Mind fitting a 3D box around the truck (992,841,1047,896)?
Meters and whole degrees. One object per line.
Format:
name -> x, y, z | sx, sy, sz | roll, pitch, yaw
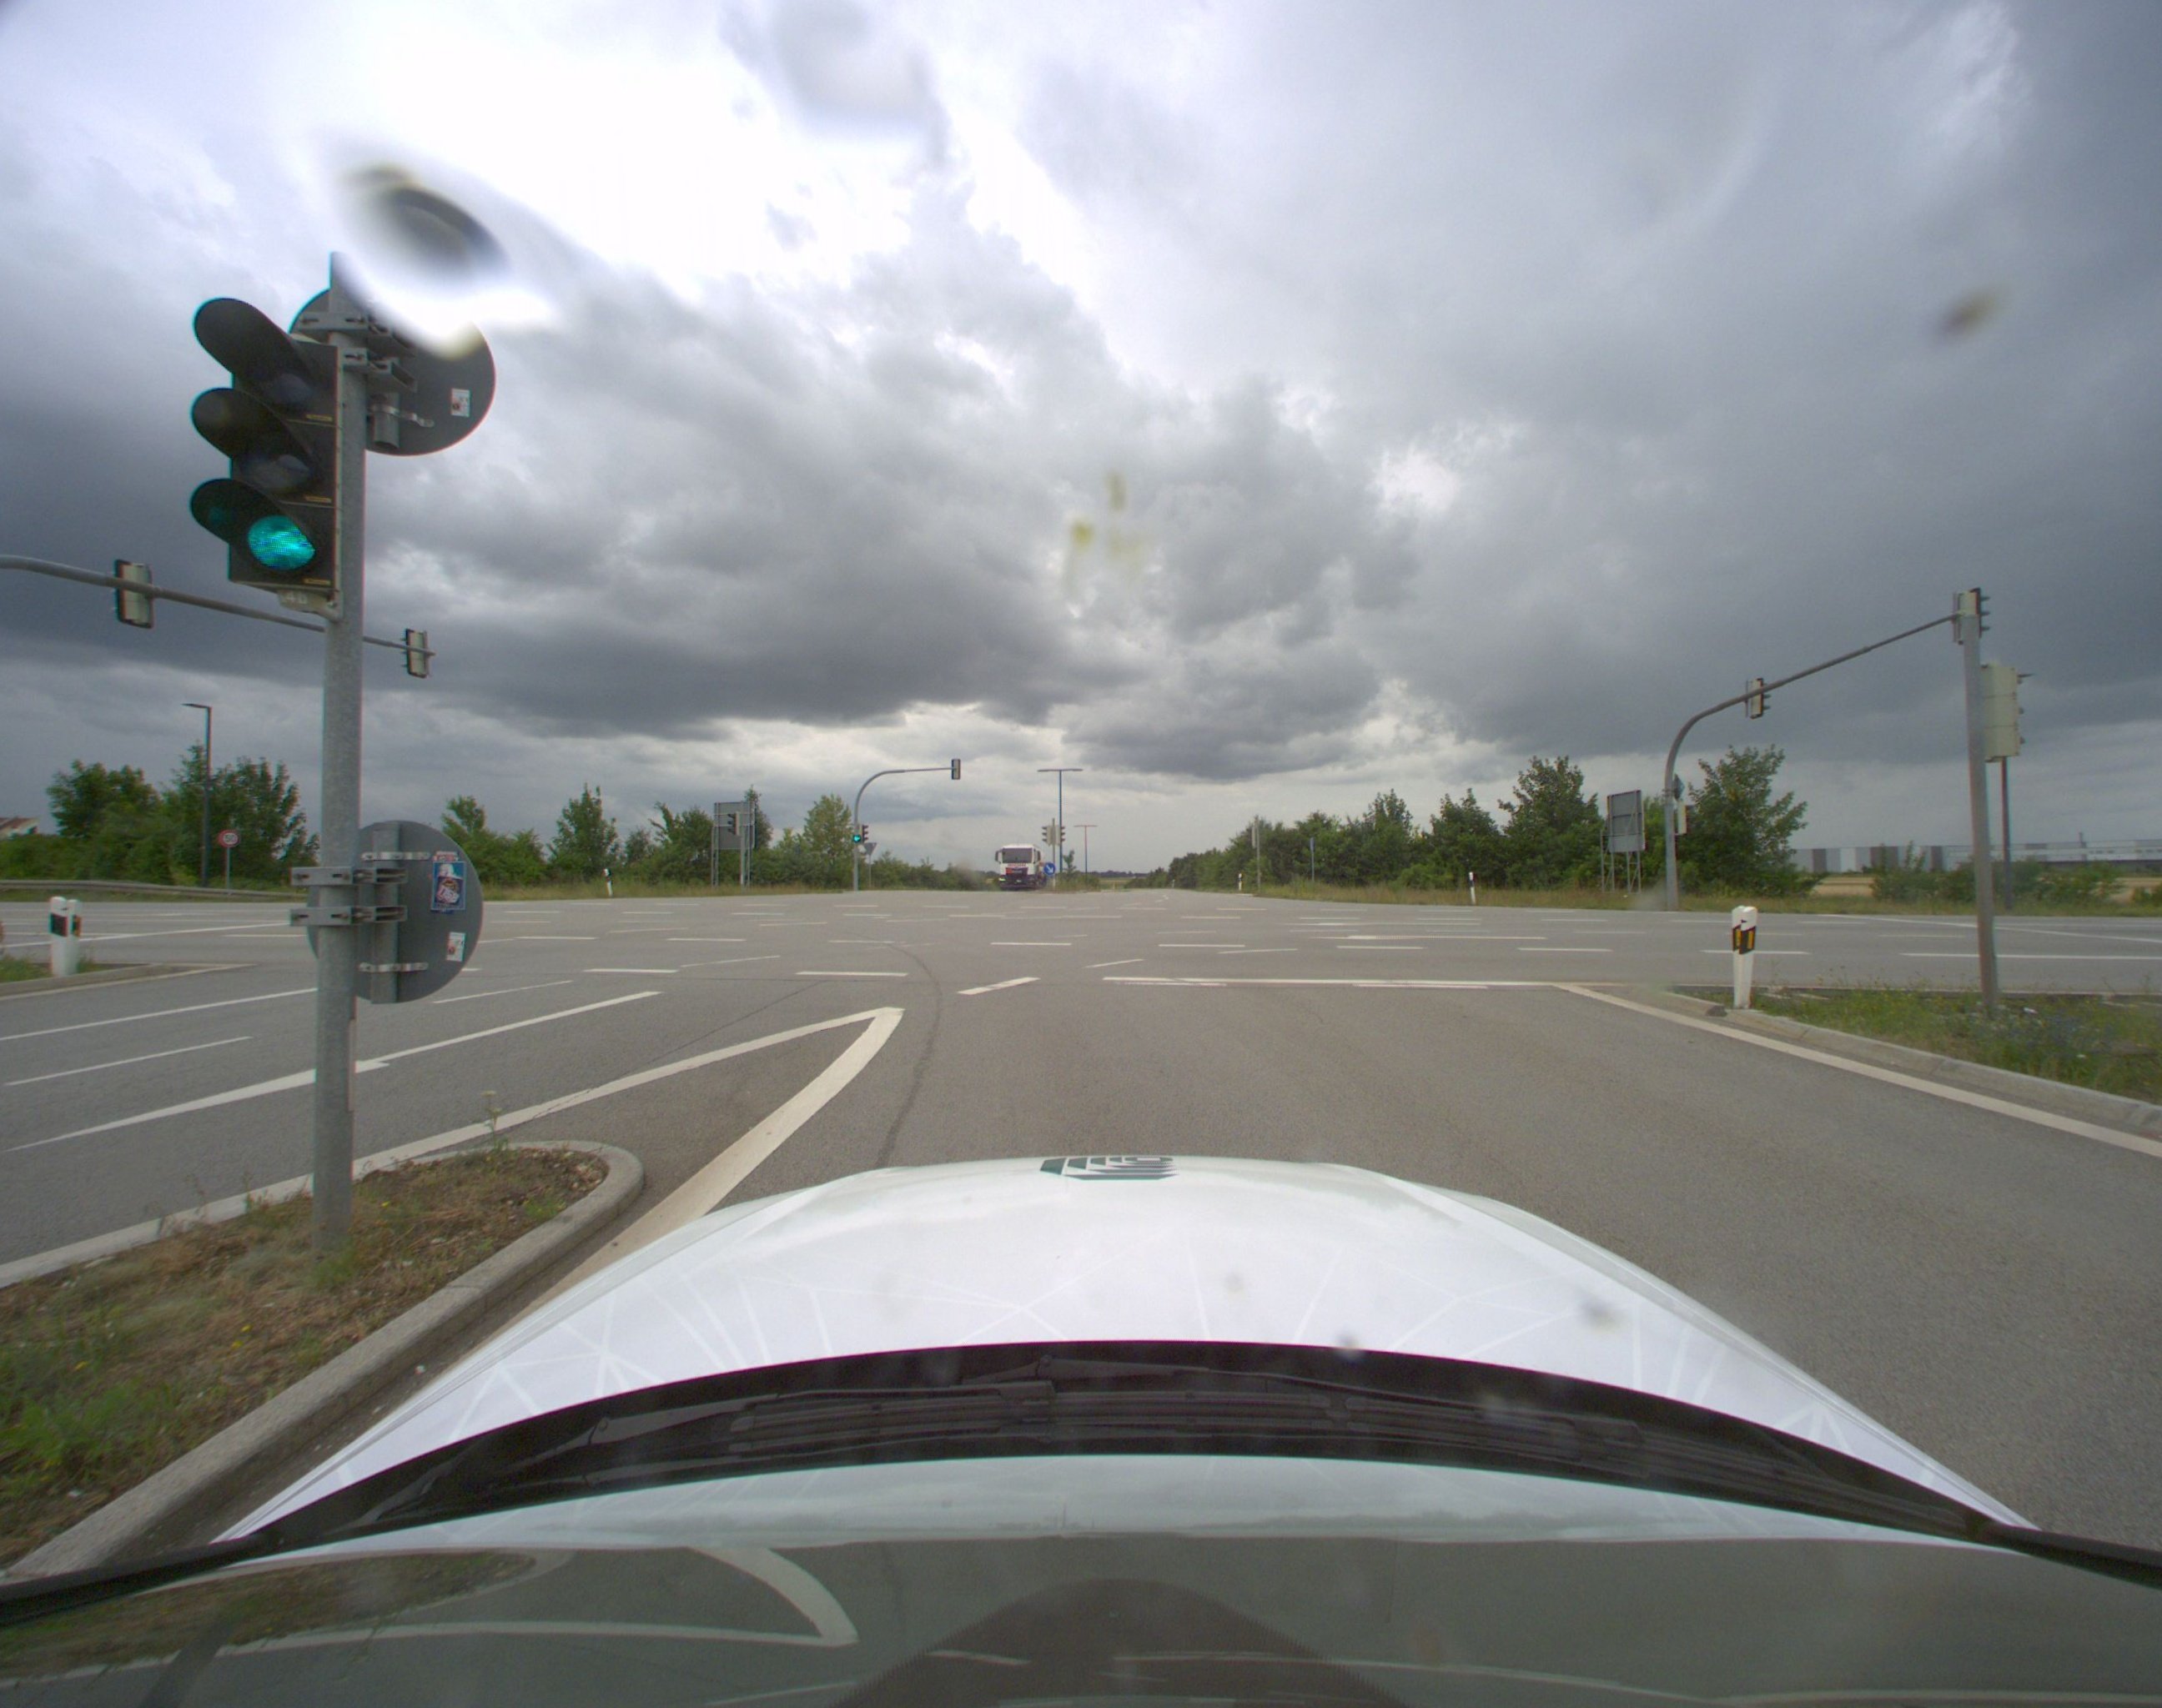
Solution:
truck -> -4.088, 1.080, 56.101 | 2.859, 3.409, 8.652 | -1, -2, 2
